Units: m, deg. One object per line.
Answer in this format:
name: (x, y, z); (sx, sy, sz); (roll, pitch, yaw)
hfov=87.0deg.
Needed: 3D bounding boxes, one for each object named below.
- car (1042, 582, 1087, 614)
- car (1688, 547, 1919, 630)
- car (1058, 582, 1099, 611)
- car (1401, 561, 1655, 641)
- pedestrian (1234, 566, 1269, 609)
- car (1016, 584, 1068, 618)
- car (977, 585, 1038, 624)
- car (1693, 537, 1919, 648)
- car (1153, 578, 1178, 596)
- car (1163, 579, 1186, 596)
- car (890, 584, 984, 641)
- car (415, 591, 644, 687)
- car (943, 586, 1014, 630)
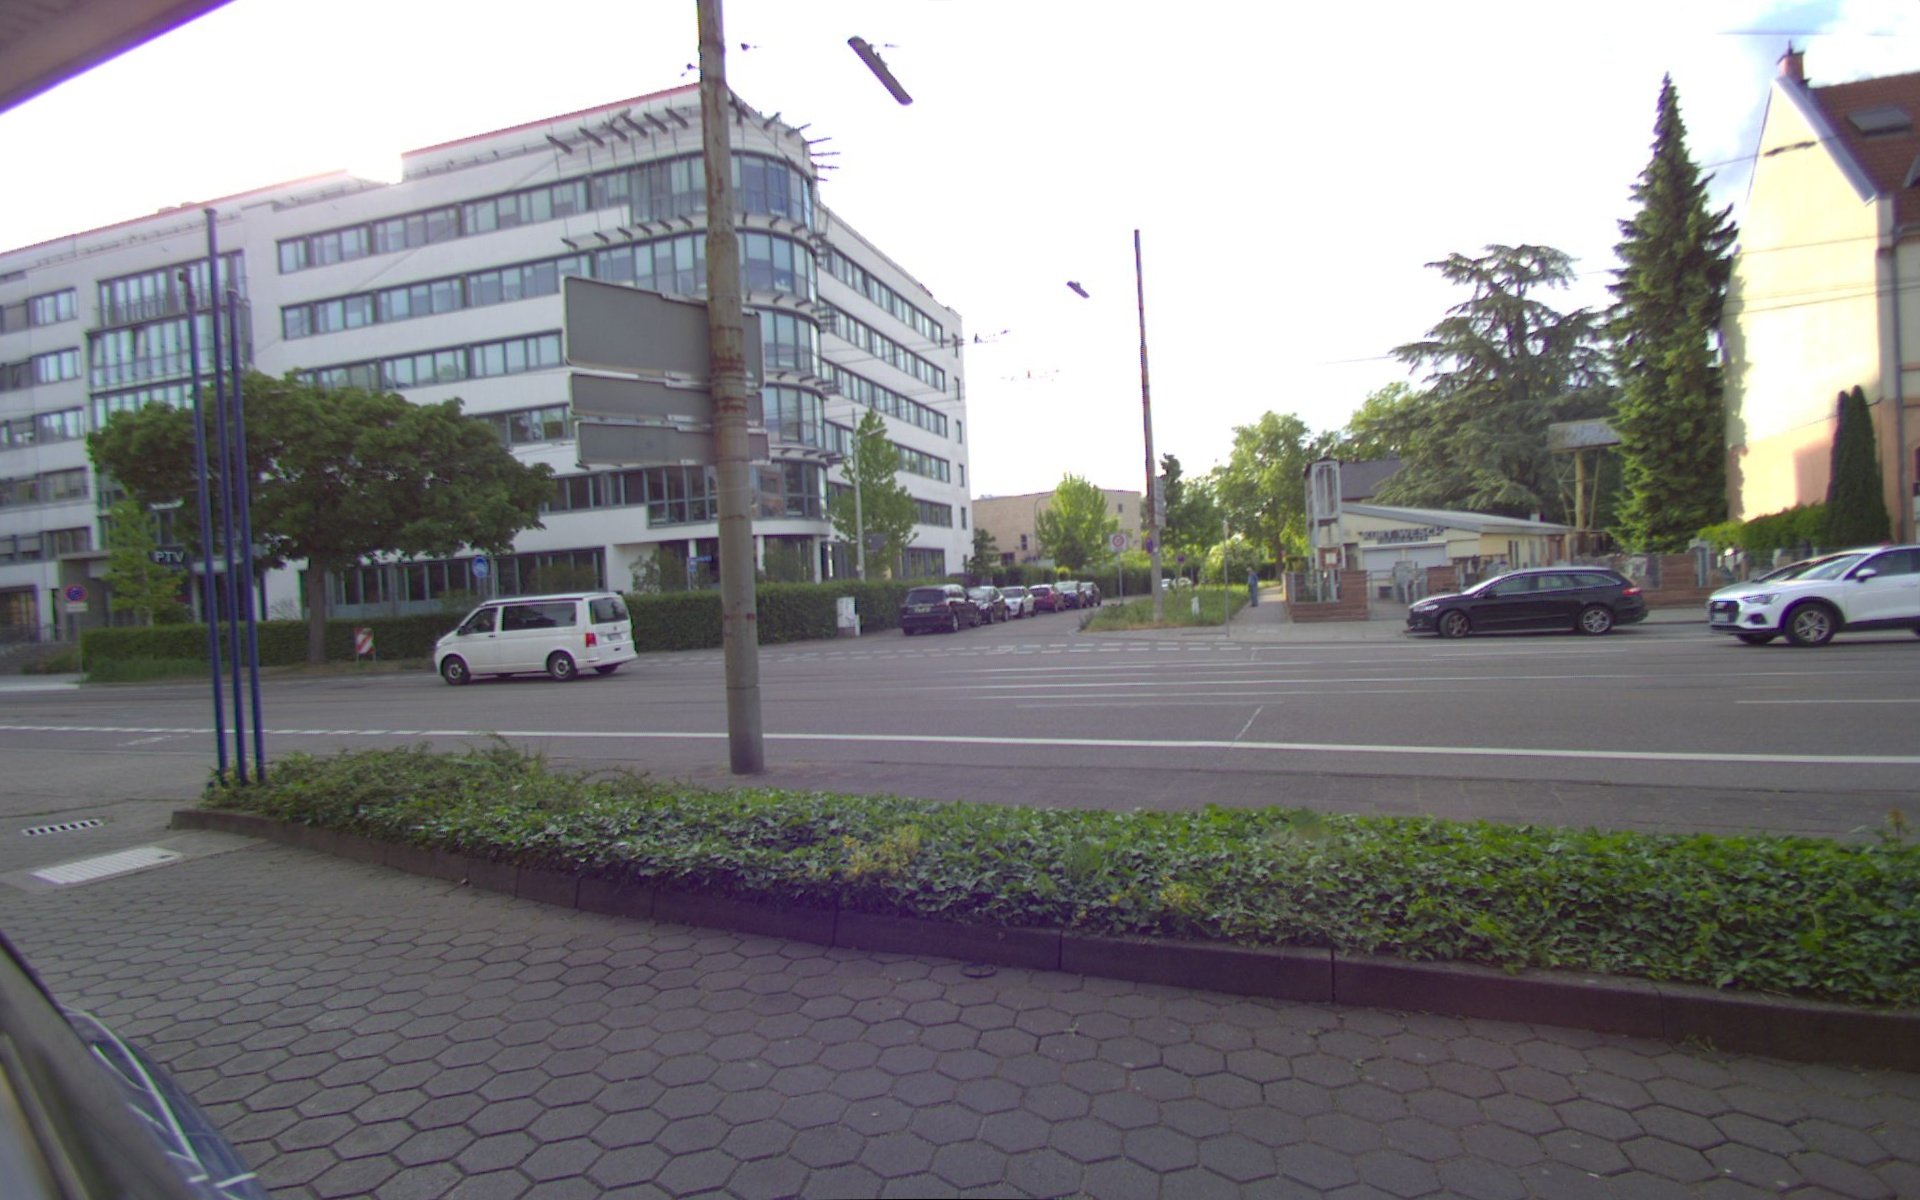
car: (5.980, -0.137, 57.663); (1.773, 1.653, 4.064); (-4, 0, 17)
car: (18.489, -0.259, 21.499); (4.459, 1.486, 1.986); (-4, 0, 22)
car: (7.372, -0.234, 62.673); (1.773, 1.653, 4.064); (-4, 0, 17)
car: (12.913, 0.042, 23.417); (4.791, 1.507, 1.986); (-4, 0, 22)
pedestrian: (12.708, -0.531, 44.157); (0.988, 1.843, 1.096); (-1, 0, -28)
car: (4.285, 0.023, 52.362); (1.773, 1.552, 4.018); (-4, 0, 17)
car: (2.204, 0.176, 45.757); (1.773, 1.565, 4.083); (-4, 0, 17)
car: (14.899, -0.163, 16.456); (4.338, 1.588, 1.833); (-4, -1, 14)
car: (20.428, -1.272, 100.614); (1.774, 1.653, 4.060); (-4, 0, 19)
car: (22.567, -1.301, 106.312); (1.774, 1.653, 4.060); (-4, 0, 19)
car: (-0.725, 0.381, 35.539); (1.962, 1.625, 4.411); (-4, 2, 17)
car: (-10.299, 0.934, 24.285); (4.846, 1.983, 1.990); (-3, 0, 16)
car: (0.796, 0.289, 40.896); (1.773, 1.565, 4.083); (-4, 0, 17)
